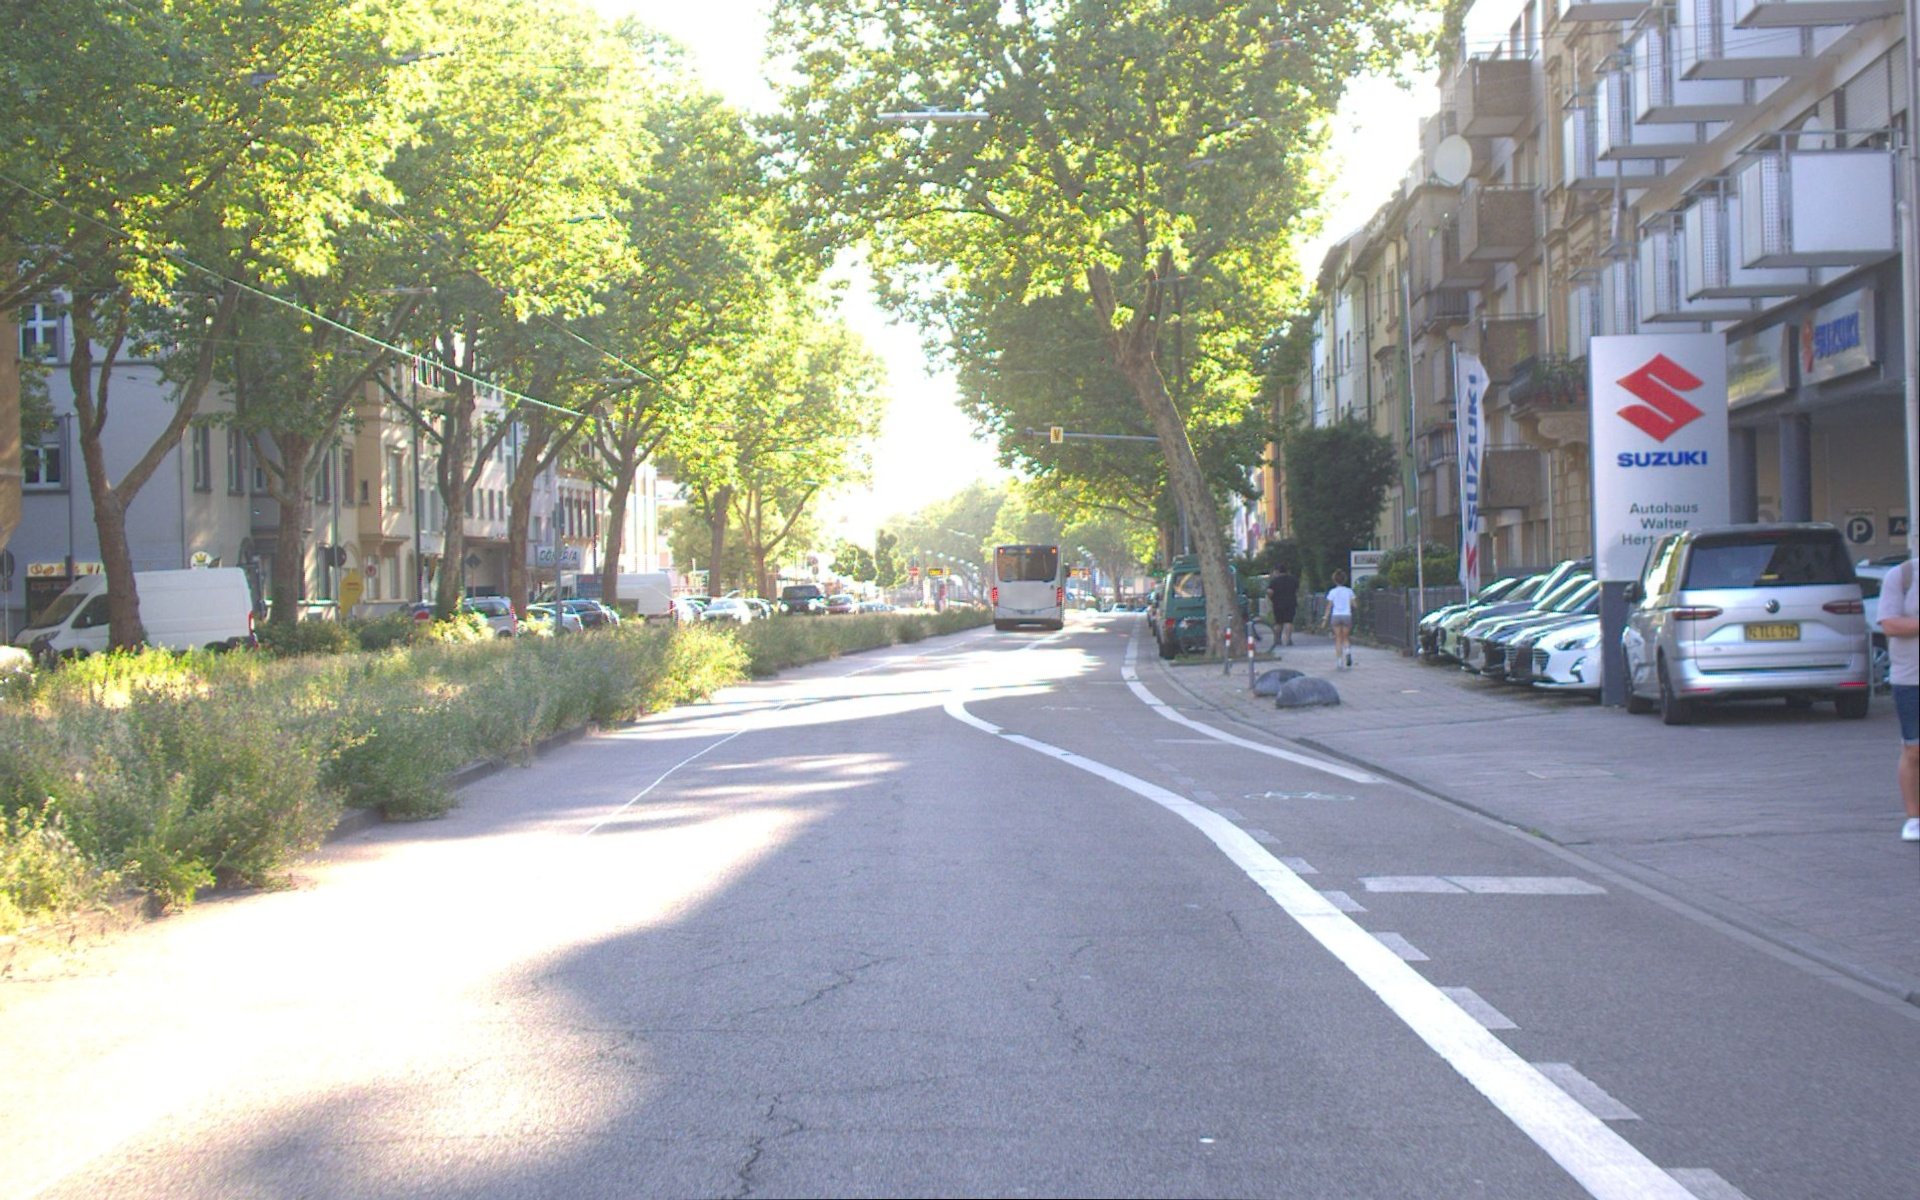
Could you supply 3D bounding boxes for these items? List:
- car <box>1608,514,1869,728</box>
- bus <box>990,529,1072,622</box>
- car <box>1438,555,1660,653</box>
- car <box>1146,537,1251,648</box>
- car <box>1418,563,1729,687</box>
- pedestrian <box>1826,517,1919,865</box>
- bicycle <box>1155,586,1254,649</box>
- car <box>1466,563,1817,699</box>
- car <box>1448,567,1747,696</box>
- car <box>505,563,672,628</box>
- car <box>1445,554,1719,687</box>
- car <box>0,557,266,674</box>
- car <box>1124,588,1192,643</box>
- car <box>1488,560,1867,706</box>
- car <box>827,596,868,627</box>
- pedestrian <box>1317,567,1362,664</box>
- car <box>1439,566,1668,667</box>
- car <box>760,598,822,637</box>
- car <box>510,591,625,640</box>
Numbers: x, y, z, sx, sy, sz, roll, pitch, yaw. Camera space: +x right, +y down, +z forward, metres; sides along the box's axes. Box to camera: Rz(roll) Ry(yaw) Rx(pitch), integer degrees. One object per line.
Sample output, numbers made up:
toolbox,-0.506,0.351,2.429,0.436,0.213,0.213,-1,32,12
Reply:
car,7.673,0.213,34.308,1.893,1.942,4.899,-1,-1,6
bus,2.558,-0.861,126.896,2.833,3.224,8.182,-1,-1,0
car,9.788,0.074,57.239,3.418,1.541,1.442,-1,-1,0
car,5.072,-0.135,73.754,1.993,2.249,5.235,-1,-1,2
car,8.161,0.328,46.001,3.819,1.535,1.859,-1,0,1
pedestrian,5.226,0.473,18.472,0.829,1.806,1.150,-1,-1,1
bicycle,4.623,0.337,65.085,1.845,1.139,0.348,-1,-1,3
car,8.185,0.358,41.517,3.868,1.509,1.809,-1,1,1
car,8.054,0.382,43.644,3.418,1.520,1.741,-1,0,-1
car,-16.307,-0.192,150.823,6.935,2.669,2.186,-1,-1,-18
car,8.642,0.274,47.993,3.581,1.714,1.682,-1,1,5
car,-18.841,0.333,78.462,5.492,2.520,2.125,-1,0,-39
car,6.587,0.518,114.205,1.745,1.764,4.392,-1,-1,9
car,8.048,0.354,38.804,3.810,1.496,1.914,-1,1,-2
car,-5.930,0.618,182.172,1.790,1.568,4.000,-1,0,3
pedestrian,6.444,0.260,58.337,0.663,1.623,0.922,-1,-1,3
car,9.409,0.266,54.702,3.418,1.513,1.757,-1,-1,5
car,-7.567,0.789,154.221,1.870,1.688,4.774,-1,-1,8
car,-15.418,0.597,135.107,3.987,1.693,1.856,-3,0,-28
